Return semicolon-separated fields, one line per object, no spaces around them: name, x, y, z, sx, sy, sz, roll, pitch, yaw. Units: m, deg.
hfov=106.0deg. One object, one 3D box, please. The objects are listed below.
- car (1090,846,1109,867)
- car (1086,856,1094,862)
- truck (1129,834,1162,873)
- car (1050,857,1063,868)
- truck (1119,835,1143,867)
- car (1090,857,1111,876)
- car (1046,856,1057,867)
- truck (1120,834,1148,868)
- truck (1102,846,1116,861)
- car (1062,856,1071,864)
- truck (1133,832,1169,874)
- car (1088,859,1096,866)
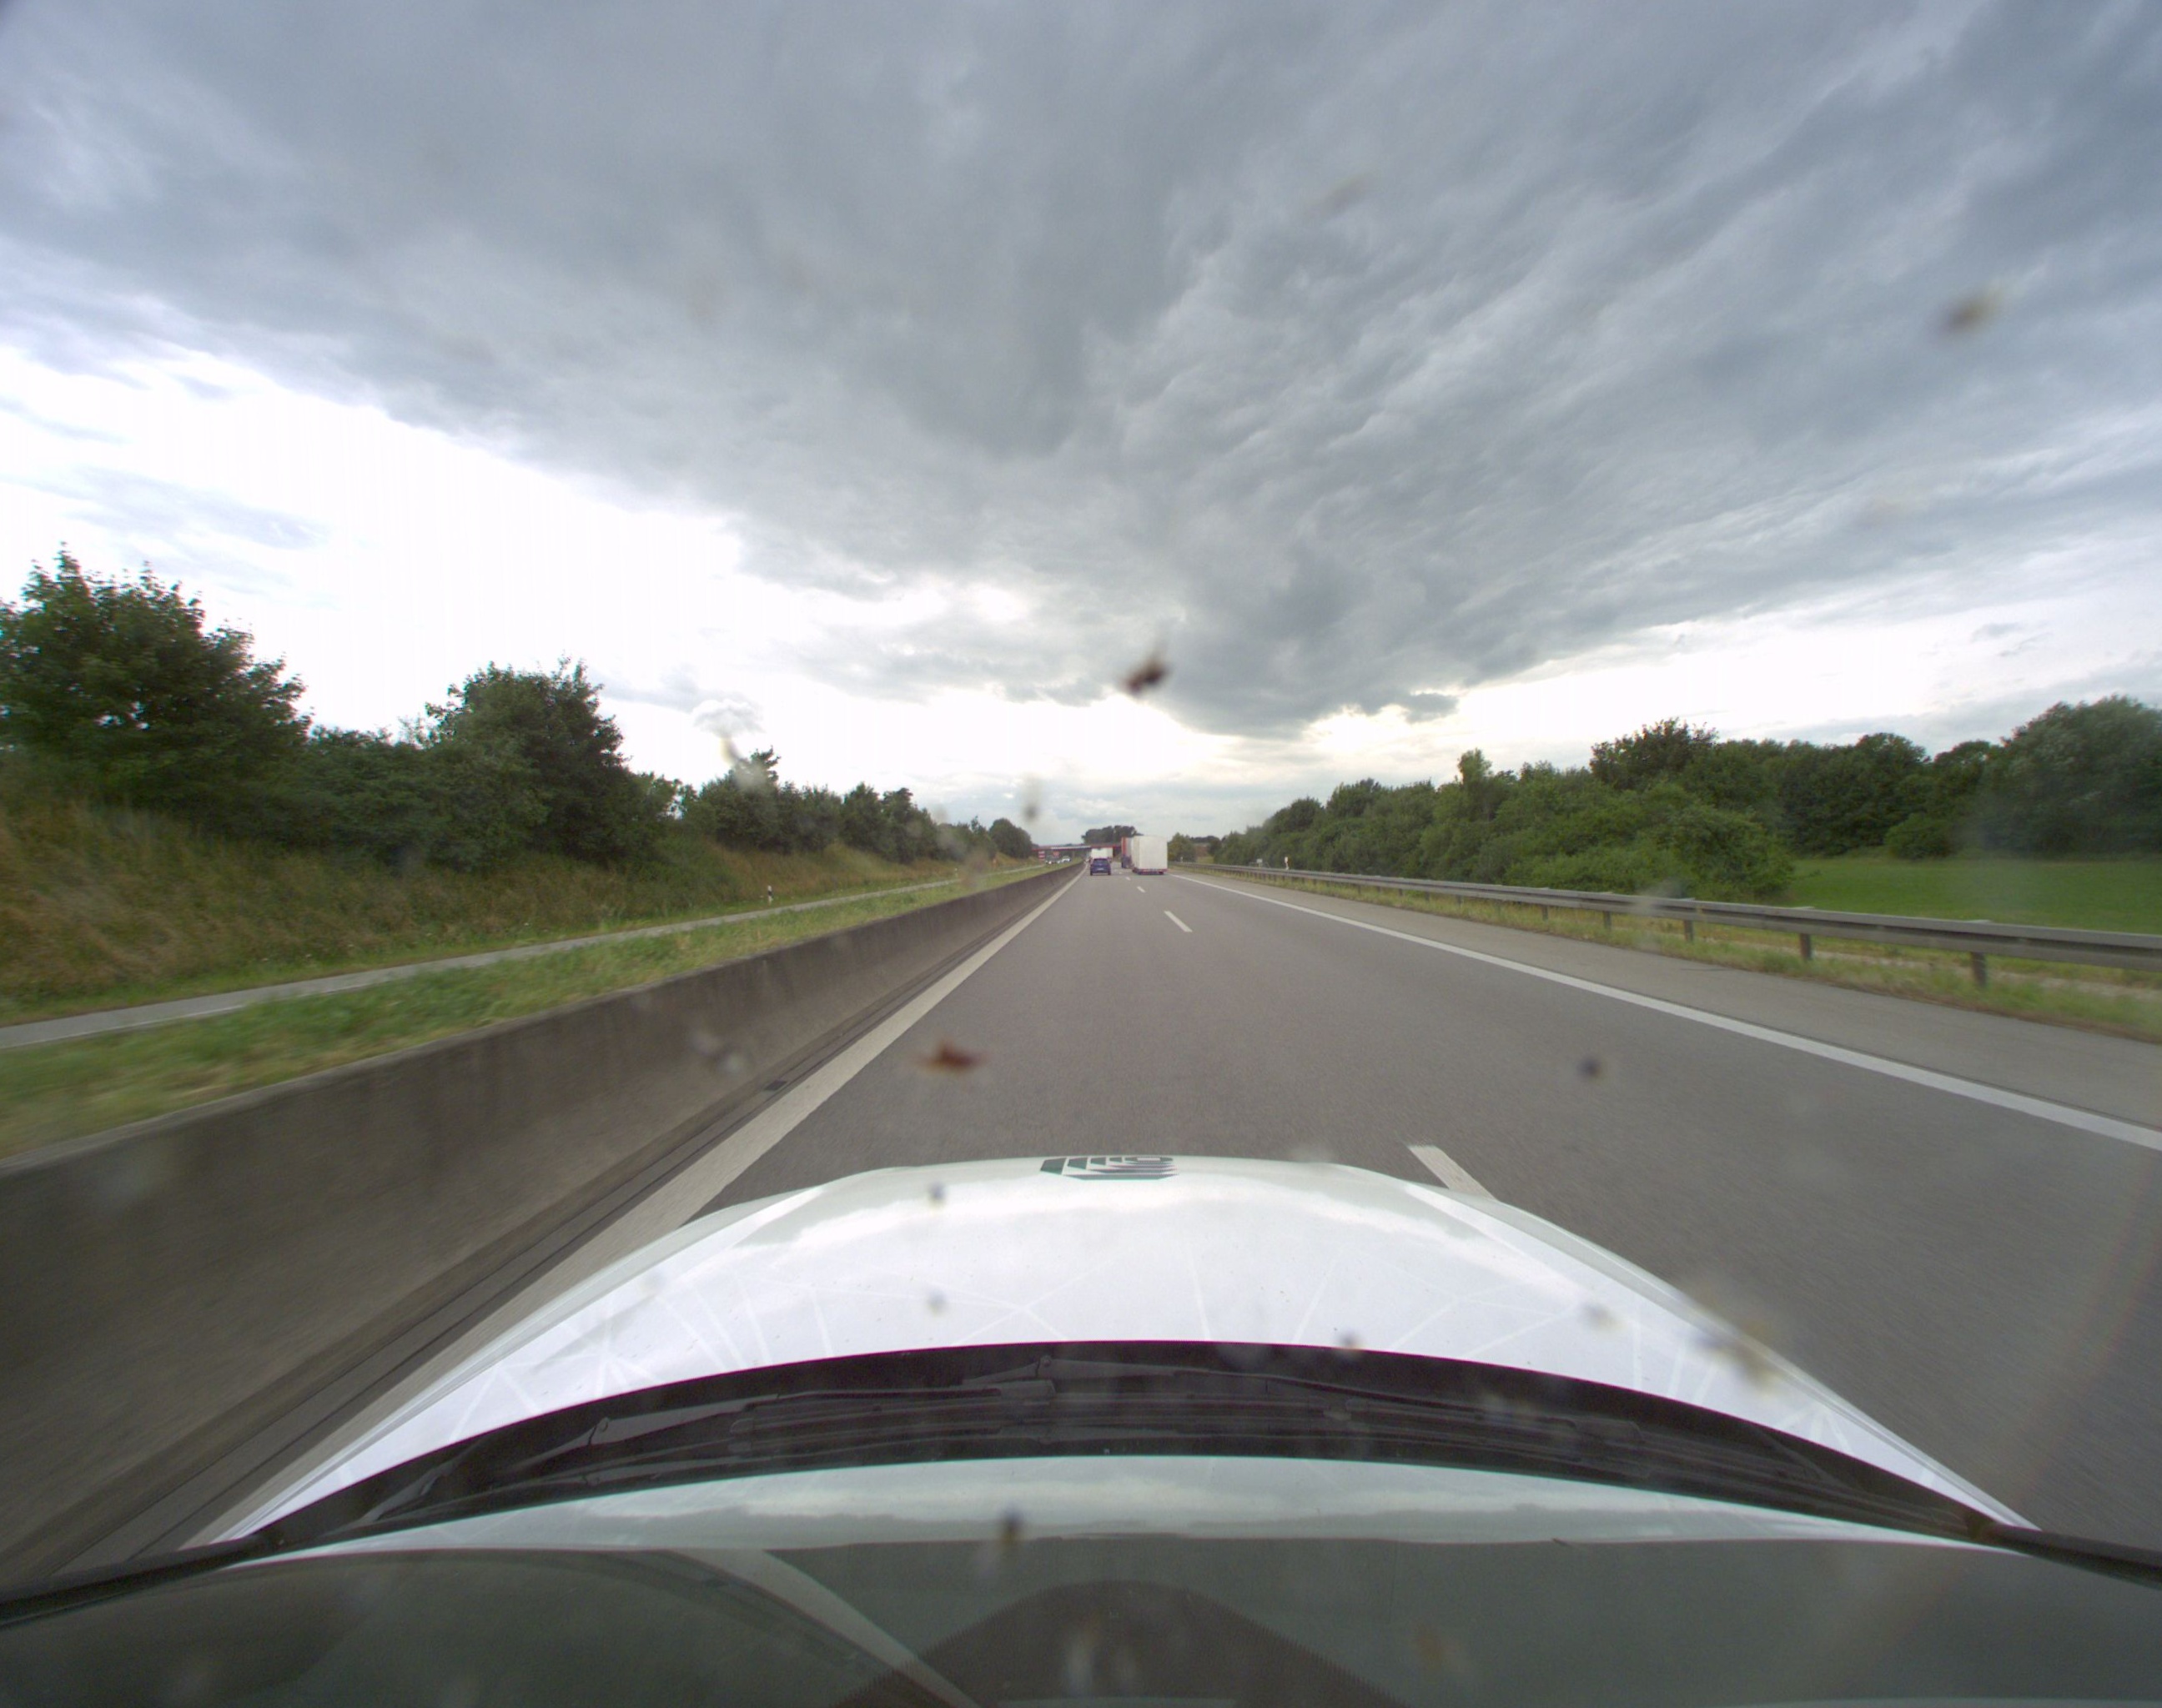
car;2.245;0.341;99.667;2.123;2.483;5.838;-2;-1;0
car;2.511;1.347;229.804;1.988;1.684;3.998;-1;0;-1
truck;5.760;-0.010;73.601;2.421;3.243;7.248;-1;0;1
car;-4.202;1.431;141.910;1.912;1.694;4.598;-3;0;1
truck;6.557;-0.339;107.803;2.665;4.045;5.511;-2;0;0
car;1.628;1.004;66.760;1.657;1.407;3.650;-1;0;2
car;-7.391;1.934;206.268;2.162;2.465;6.723;-4;-1;1
truck;6.576;-0.376;102.439;2.665;4.045;11.104;-2;0;0
truck;7.336;-0.109;214.974;3.101;3.689;9.319;-4;-1;-1
car;-3.756;1.527;211.706;1.973;2.013;5.130;-1;0;0
truck;5.639;-0.030;66.409;2.406;3.222;7.144;-1;0;1
car;2.665;1.977;196.505;1.927;1.643;4.906;-2;-1;2
